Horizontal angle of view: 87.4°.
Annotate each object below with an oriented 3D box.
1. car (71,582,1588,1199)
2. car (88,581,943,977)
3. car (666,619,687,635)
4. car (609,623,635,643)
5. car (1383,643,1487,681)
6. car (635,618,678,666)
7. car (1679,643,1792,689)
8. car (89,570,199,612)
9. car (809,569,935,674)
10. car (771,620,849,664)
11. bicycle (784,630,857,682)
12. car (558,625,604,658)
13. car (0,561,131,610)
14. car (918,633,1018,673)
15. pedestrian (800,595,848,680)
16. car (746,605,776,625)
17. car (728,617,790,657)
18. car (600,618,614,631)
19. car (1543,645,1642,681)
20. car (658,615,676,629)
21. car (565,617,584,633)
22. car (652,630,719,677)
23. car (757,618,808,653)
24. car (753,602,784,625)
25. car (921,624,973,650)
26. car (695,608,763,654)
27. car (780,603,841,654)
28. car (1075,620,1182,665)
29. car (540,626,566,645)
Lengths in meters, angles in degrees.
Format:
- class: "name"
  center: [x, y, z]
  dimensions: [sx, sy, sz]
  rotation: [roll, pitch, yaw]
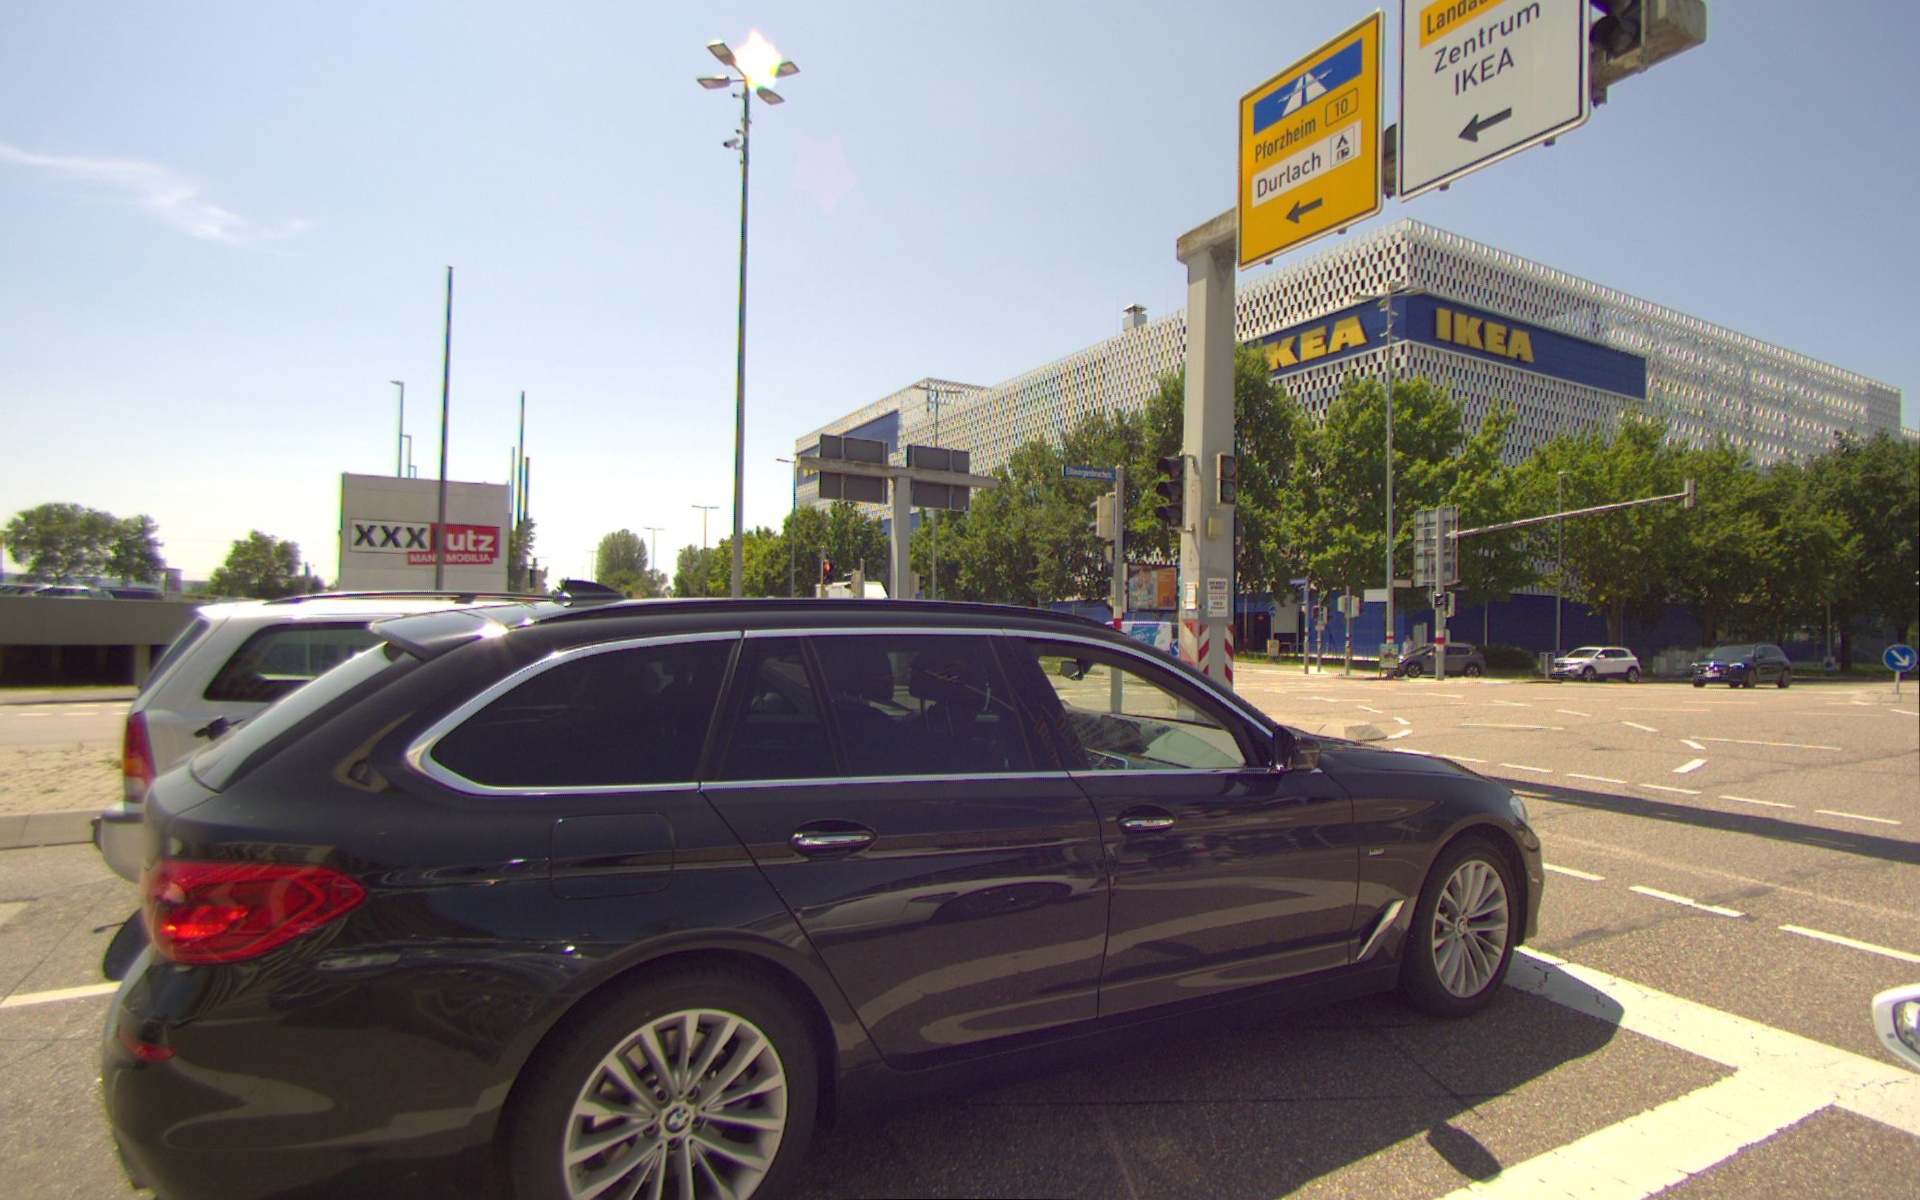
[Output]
- class: "car"
  center: [0.081, 0.766, 3.574]
  dimensions: [4.570, 1.485, 1.791]
  rotation: [1, -1, -31]
- class: "car"
  center: [-2.232, 0.739, 5.747]
  dimensions: [3.961, 1.514, 1.785]
  rotation: [2, -1, -36]
- class: "car"
  center: [-37.254, 3.509, 131.933]
  dimensions: [1.974, 2.040, 3.973]
  rotation: [2, -3, -27]
- class: "car"
  center: [-34.882, 3.380, 103.550]
  dimensions: [1.906, 2.040, 3.971]
  rotation: [2, -2, -28]
- class: "car"
  center: [20.609, 2.690, 43.678]
  dimensions: [3.679, 1.553, 1.777]
  rotation: [1, -2, 3]
- class: "car"
  center: [-13.456, 1.834, 44.427]
  dimensions: [1.594, 2.040, 3.863]
  rotation: [1, -2, -20]
- class: "car"
  center: [29.161, 2.472, 37.750]
  dimensions: [4.444, 1.619, 1.866]
  rotation: [2, -3, -30]
- class: "car"
  center: [-40.525, -0.405, 50.028]
  dimensions: [3.956, 1.933, 1.983]
  rotation: [2, -2, -32]
- class: "car"
  center: [-3.445, 0.802, 37.514]
  dimensions: [2.156, 3.532, 6.875]
  rotation: [0, -1, -28]
- class: "car"
  center: [-6.805, 1.860, 45.007]
  dimensions: [1.973, 1.835, 5.438]
  rotation: [1, -2, -25]
- class: "bicycle"
  center: [-3.506, 1.377, 25.086]
  dimensions: [0.987, 1.229, 2.079]
  rotation: [2, -2, -35]
- class: "car"
  center: [-23.824, 2.594, 63.033]
  dimensions: [1.815, 2.040, 3.963]
  rotation: [2, -2, -34]
- class: "car"
  center: [-39.353, -0.591, 44.325]
  dimensions: [3.953, 1.957, 1.984]
  rotation: [2, -2, -30]
- class: "car"
  center: [0.227, 1.889, 36.654]
  dimensions: [1.756, 1.360, 4.262]
  rotation: [1, -2, -30]
- class: "pedestrian"
  center: [-3.371, 0.932, 24.904]
  dimensions: [0.856, 2.040, 0.899]
  rotation: [1, -2, -35]
- class: "car"
  center: [-19.561, 1.505, 98.537]
  dimensions: [1.729, 1.884, 3.969]
  rotation: [2, -3, -30]
- class: "car"
  center: [-10.642, 1.949, 52.985]
  dimensions: [1.975, 2.040, 4.681]
  rotation: [2, -2, -27]
- class: "car"
  center: [-58.180, 4.003, 165.402]
  dimensions: [1.971, 2.040, 3.979]
  rotation: [2, -2, -22]
- class: "car"
  center: [28.007, 2.789, 44.488]
  dimensions: [4.010, 1.476, 1.619]
  rotation: [2, -2, -21]
- class: "car"
  center: [-45.426, 3.372, 155.902]
  dimensions: [1.974, 2.040, 3.972]
  rotation: [2, -1, -27]
- class: "car"
  center: [-69.446, 4.522, 180.837]
  dimensions: [2.877, 2.724, 6.126]
  rotation: [2, -2, -24]
- class: "car"
  center: [-9.563, 1.823, 34.832]
  dimensions: [1.904, 1.528, 3.982]
  rotation: [1, -2, -20]
- class: "car"
  center: [-10.760, 2.148, 60.821]
  dimensions: [1.974, 2.014, 3.974]
  rotation: [2, -3, -26]
- class: "car"
  center: [-17.727, 1.254, 93.055]
  dimensions: [1.972, 2.040, 3.978]
  rotation: [2, -2, -23]
- class: "car"
  center: [-0.788, 2.148, 58.459]
  dimensions: [1.648, 1.429, 4.215]
  rotation: [1, -2, -22]
- class: "car"
  center: [-13.872, 1.869, 60.021]
  dimensions: [2.542, 2.568, 6.587]
  rotation: [2, -2, -26]
- class: "car"
  center: [-8.259, 1.575, 55.132]
  dimensions: [2.032, 2.665, 4.652]
  rotation: [0, -2, -26]
- class: "car"
  center: [8.040, 2.013, 47.943]
  dimensions: [4.673, 2.034, 1.999]
  rotation: [0, -2, 24]
- class: "car"
  center: [-36.512, 3.167, 90.102]
  dimensions: [1.718, 1.708, 3.642]
  rotation: [2, -2, -28]
